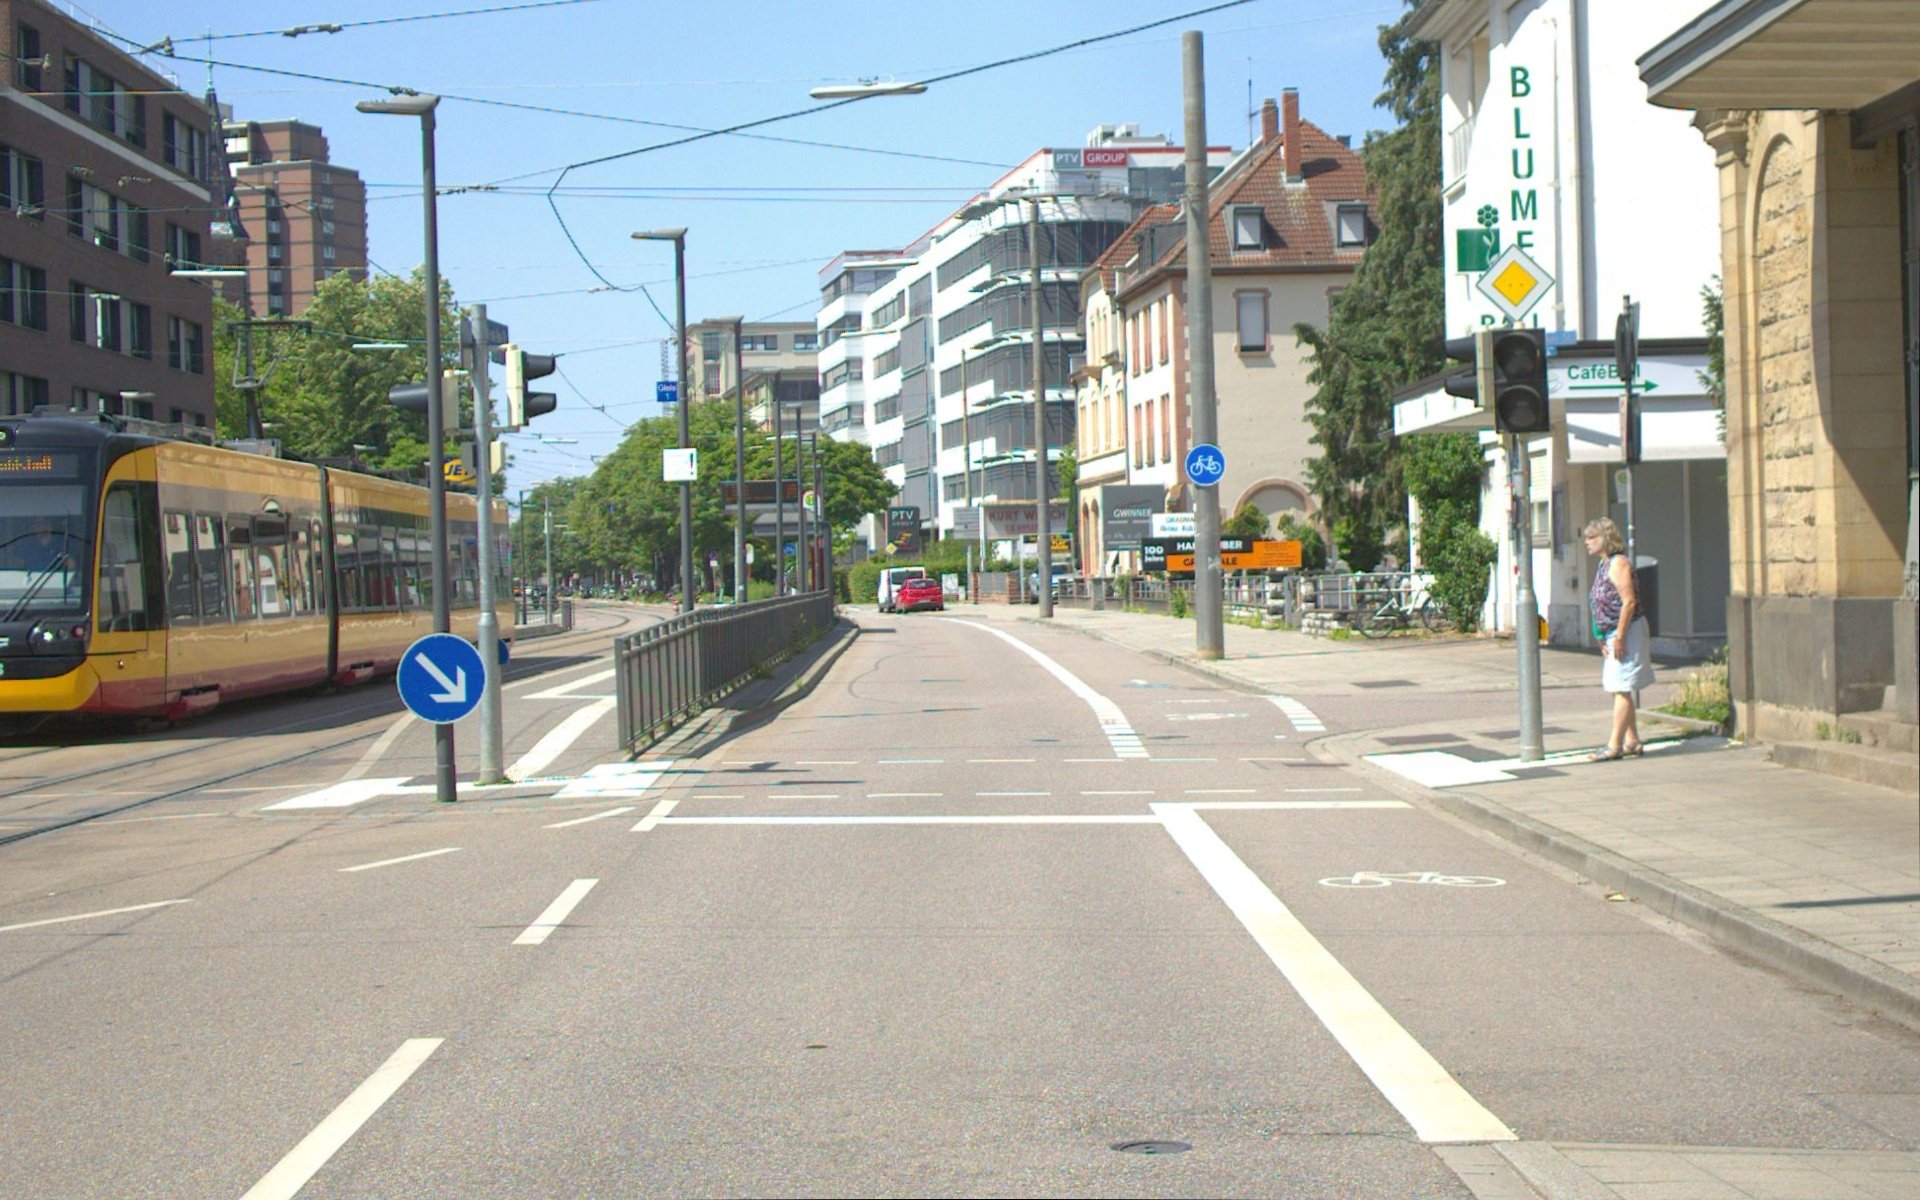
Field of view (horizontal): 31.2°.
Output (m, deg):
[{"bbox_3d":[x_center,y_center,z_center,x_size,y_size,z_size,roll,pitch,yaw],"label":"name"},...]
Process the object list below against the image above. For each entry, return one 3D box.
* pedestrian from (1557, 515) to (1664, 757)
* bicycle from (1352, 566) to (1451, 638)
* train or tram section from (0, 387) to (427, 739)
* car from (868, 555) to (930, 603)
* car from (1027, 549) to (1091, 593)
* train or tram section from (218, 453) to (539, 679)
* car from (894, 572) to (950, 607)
[{"bbox_3d":[4.554,0.244,24.039,0.564,1.660,0.681,-2,1,22],"label":"pedestrian"},{"bbox_3d":[7.180,0.025,55.935,1.533,1.082,0.429,-3,0,6],"label":"bicycle"},{"bbox_3d":[-10.176,-0.394,45.335,3.250,3.555,20.502,-2,0,-1],"label":"train or tram section"},{"bbox_3d":[-2.744,-0.942,153.090,1.993,1.985,5.516,-3,1,-8],"label":"car"},{"bbox_3d":[3.900,-1.146,136.626,1.878,1.619,4.640,-4,1,-5],"label":"car"},{"bbox_3d":[-10.367,-0.584,63.556,3.235,3.555,16.350,-2,0,-1],"label":"train or tram section"},{"bbox_3d":[-1.639,-0.464,146.620,1.993,1.437,4.017,-1,0,-6],"label":"car"}]
